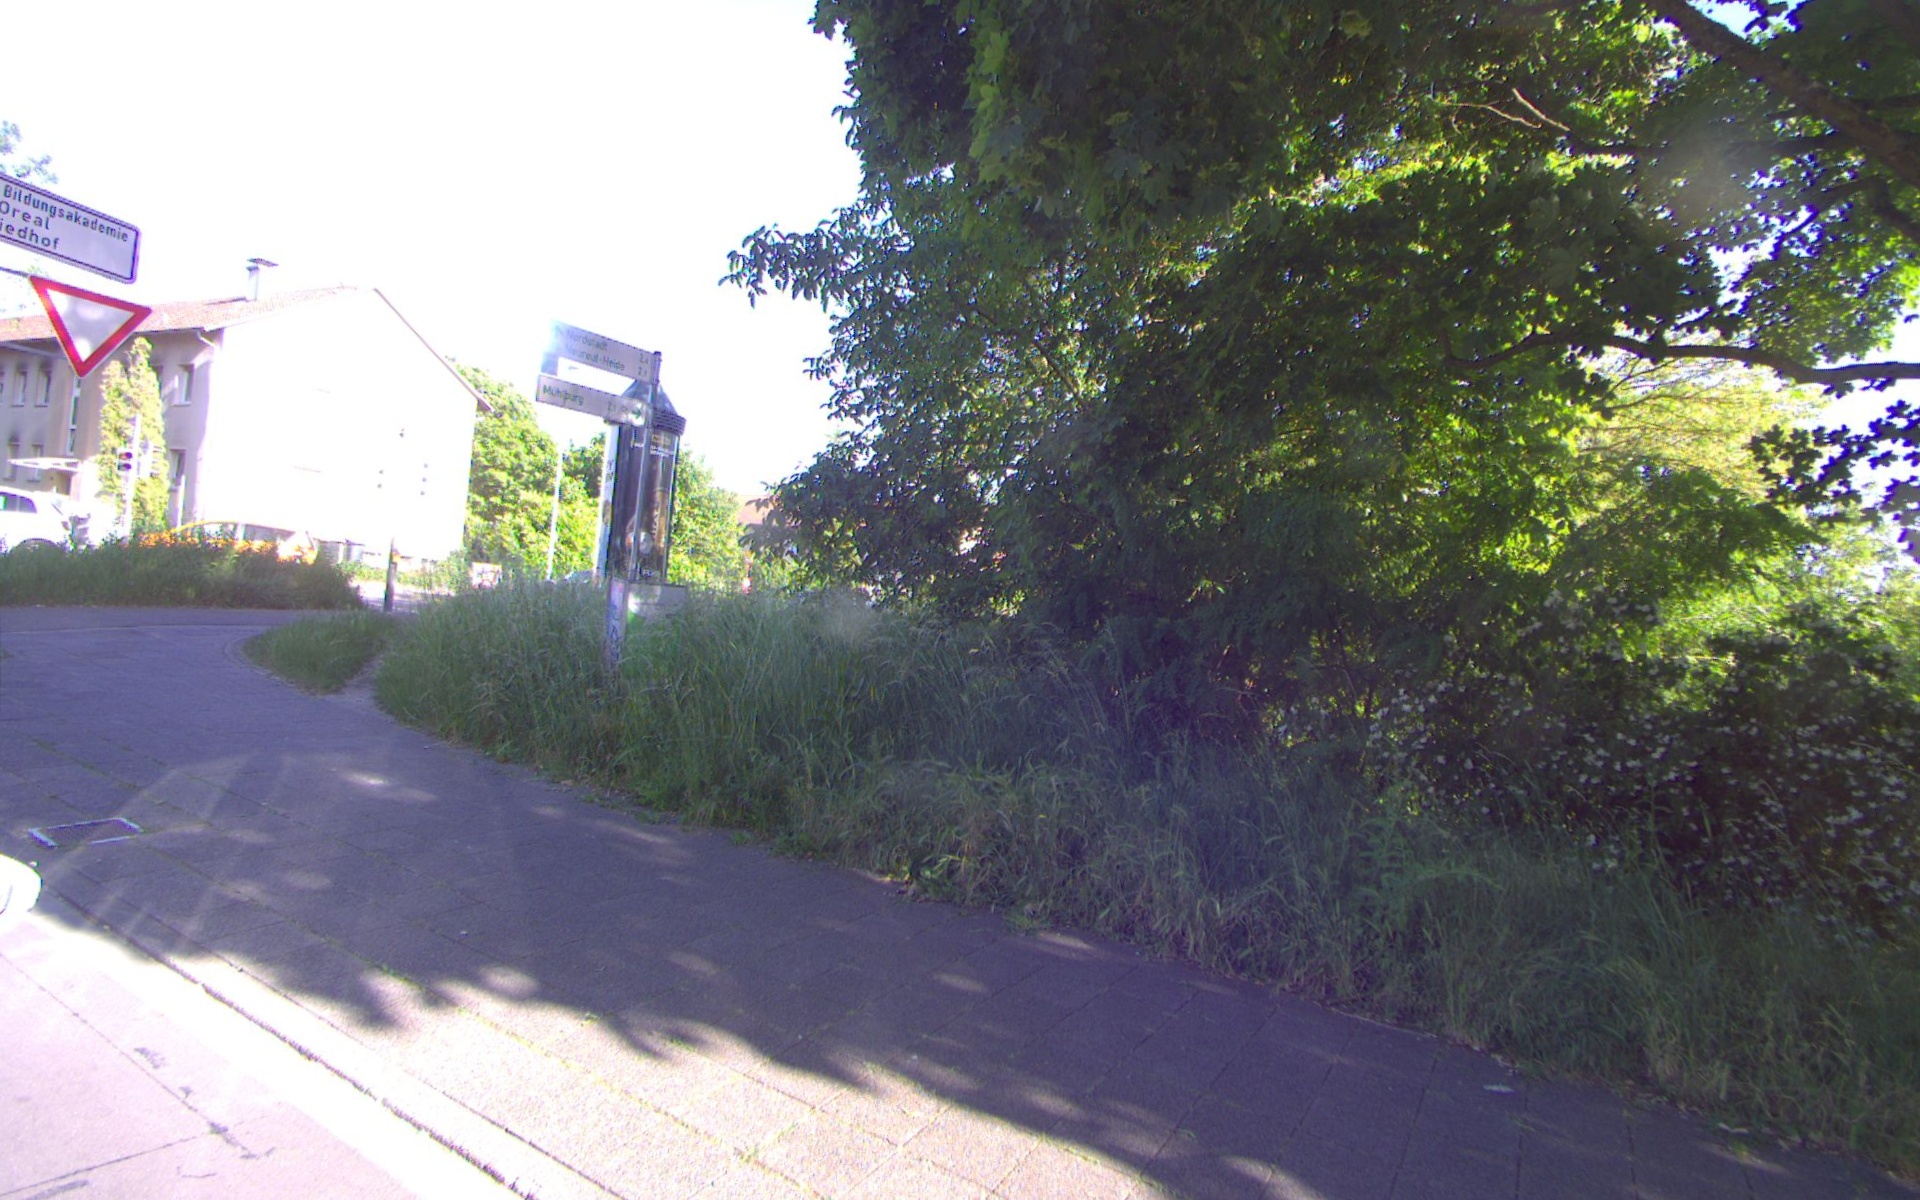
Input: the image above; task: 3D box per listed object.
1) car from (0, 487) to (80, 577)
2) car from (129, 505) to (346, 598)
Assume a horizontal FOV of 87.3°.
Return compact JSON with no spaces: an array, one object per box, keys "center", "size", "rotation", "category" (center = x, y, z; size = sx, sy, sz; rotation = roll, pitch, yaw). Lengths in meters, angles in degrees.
[{"center":[-19.461,-1.522,18.779],"size":[1.727,1.581,4.119],"rotation":[6,-2,27],"category":"car"},{"center":[-17.395,-1.130,24.318],"size":[3.976,1.601,1.737],"rotation":[9,-3,-43],"category":"car"}]
